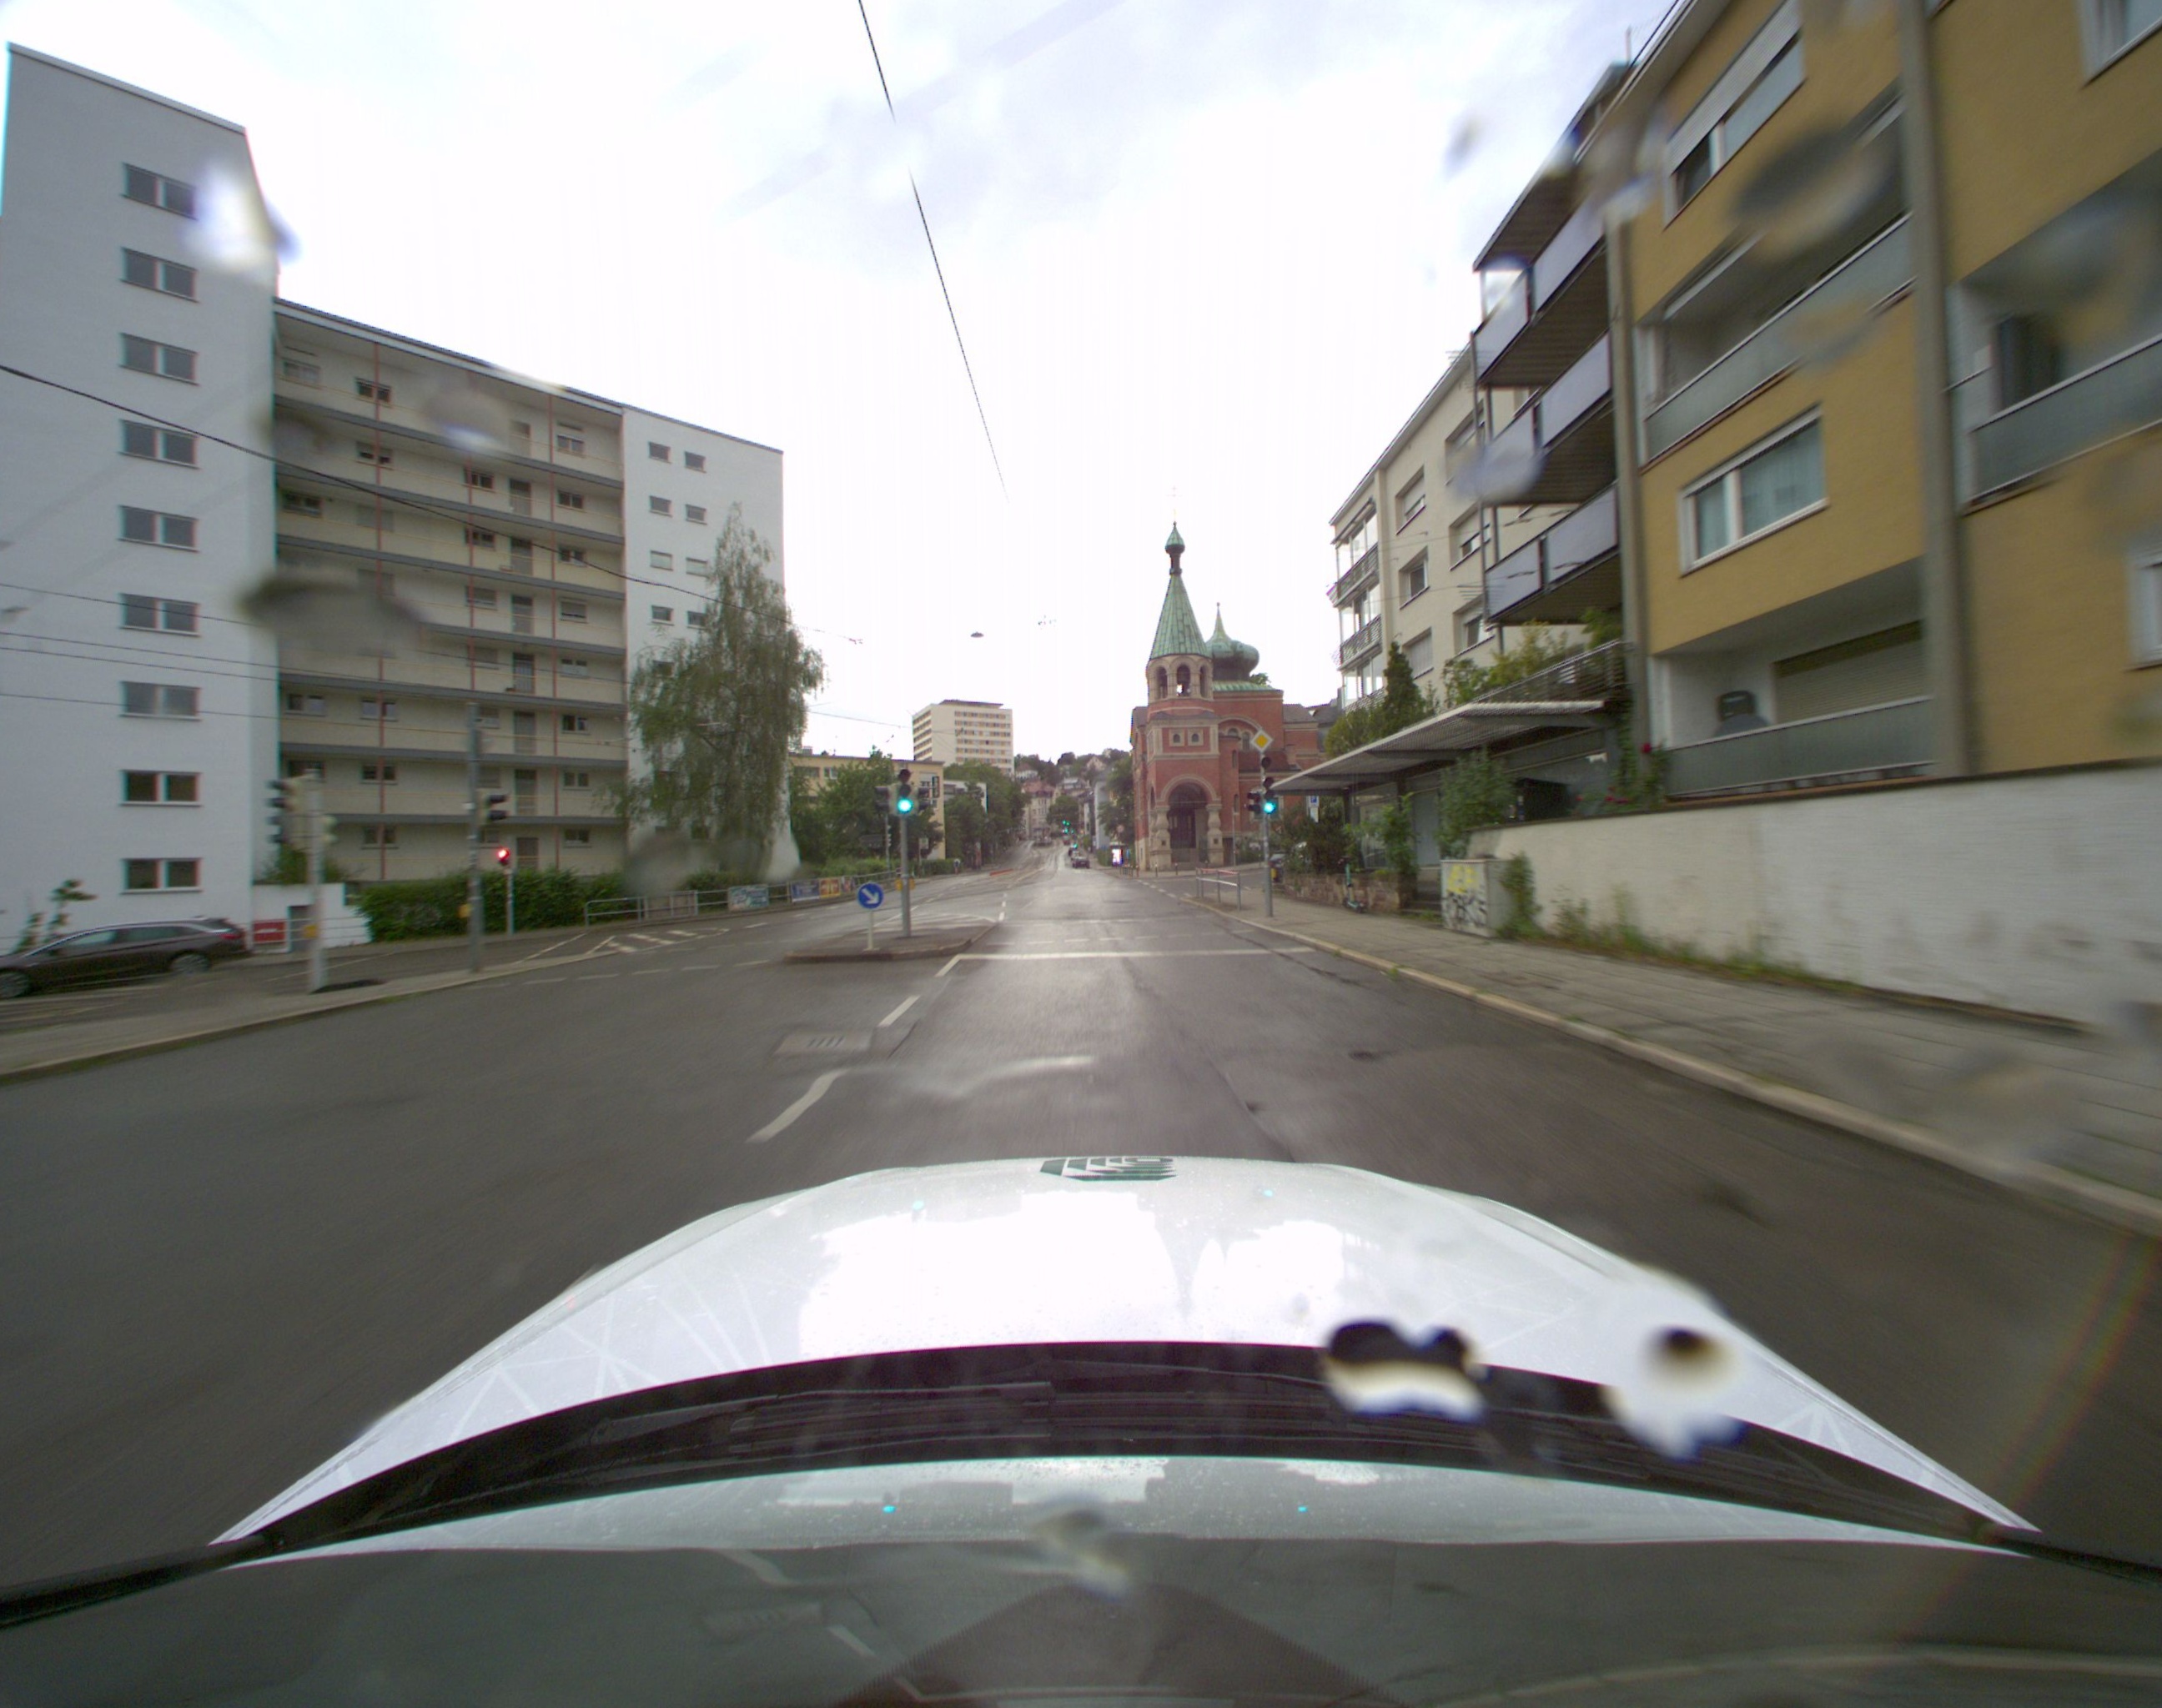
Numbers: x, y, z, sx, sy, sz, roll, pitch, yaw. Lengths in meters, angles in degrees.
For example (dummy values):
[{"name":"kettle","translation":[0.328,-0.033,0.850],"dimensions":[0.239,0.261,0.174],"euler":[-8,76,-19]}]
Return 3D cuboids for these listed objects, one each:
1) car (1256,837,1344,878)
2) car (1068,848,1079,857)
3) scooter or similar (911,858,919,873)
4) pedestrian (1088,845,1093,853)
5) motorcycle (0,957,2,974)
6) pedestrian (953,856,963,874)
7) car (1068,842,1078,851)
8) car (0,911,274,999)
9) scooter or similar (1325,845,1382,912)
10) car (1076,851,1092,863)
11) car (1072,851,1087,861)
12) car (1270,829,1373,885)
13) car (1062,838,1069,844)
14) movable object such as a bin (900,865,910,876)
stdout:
[{"name":"car","translation":[9.961,0.130,36.807],"dimensions":[1.976,1.457,4.478],"euler":[-1,4,42]},{"name":"car","translation":[-1.312,-0.340,142.635],"dimensions":[1.700,1.433,4.099],"euler":[0,2,-3]},{"name":"scooter or similar","translation":[-13.569,0.965,66.637],"dimensions":[0.572,1.184,1.595],"euler":[-1,-1,-8]},{"name":"pedestrian","translation":[1.822,-0.940,158.718],"dimensions":[0.879,1.582,0.802],"euler":[-3,4,0]},{"name":"motorcycle","translation":[-28.829,2.735,20.249],"dimensions":[0.888,0.940,2.250],"euler":[0,4,44]},{"name":"pedestrian","translation":[-12.955,1.189,85.858],"dimensions":[0.917,1.846,1.015],"euler":[0,-1,-6]},{"name":"car","translation":[-1.548,-1.542,159.176],"dimensions":[1.902,1.641,4.686],"euler":[0,2,-3]},{"name":"car","translation":[-22.971,2.378,19.906],"dimensions":[1.851,1.461,4.520],"euler":[-5,0,44]},{"name":"scooter or similar","translation":[5.951,0.513,17.855],"dimensions":[0.533,1.327,1.658],"euler":[-7,0,-1]},{"name":"car","translation":[0.410,0.378,106.255],"dimensions":[1.854,1.487,4.640],"euler":[-1,0,-3]},{"name":"car","translation":[-0.241,0.291,118.444],"dimensions":[1.936,1.464,4.201],"euler":[-1,0,-4]},{"name":"car","translation":[7.681,0.139,26.465],"dimensions":[1.848,1.503,4.446],"euler":[-5,-1,-1]},{"name":"car","translation":[-4.091,-3.477,216.929],"dimensions":[1.796,1.645,3.998],"euler":[-1,1,-1]},{"name":"movable object such as a bin","translation":[-14.003,1.287,64.799],"dimensions":[0.686,0.882,0.758],"euler":[-1,-1,-7]}]
